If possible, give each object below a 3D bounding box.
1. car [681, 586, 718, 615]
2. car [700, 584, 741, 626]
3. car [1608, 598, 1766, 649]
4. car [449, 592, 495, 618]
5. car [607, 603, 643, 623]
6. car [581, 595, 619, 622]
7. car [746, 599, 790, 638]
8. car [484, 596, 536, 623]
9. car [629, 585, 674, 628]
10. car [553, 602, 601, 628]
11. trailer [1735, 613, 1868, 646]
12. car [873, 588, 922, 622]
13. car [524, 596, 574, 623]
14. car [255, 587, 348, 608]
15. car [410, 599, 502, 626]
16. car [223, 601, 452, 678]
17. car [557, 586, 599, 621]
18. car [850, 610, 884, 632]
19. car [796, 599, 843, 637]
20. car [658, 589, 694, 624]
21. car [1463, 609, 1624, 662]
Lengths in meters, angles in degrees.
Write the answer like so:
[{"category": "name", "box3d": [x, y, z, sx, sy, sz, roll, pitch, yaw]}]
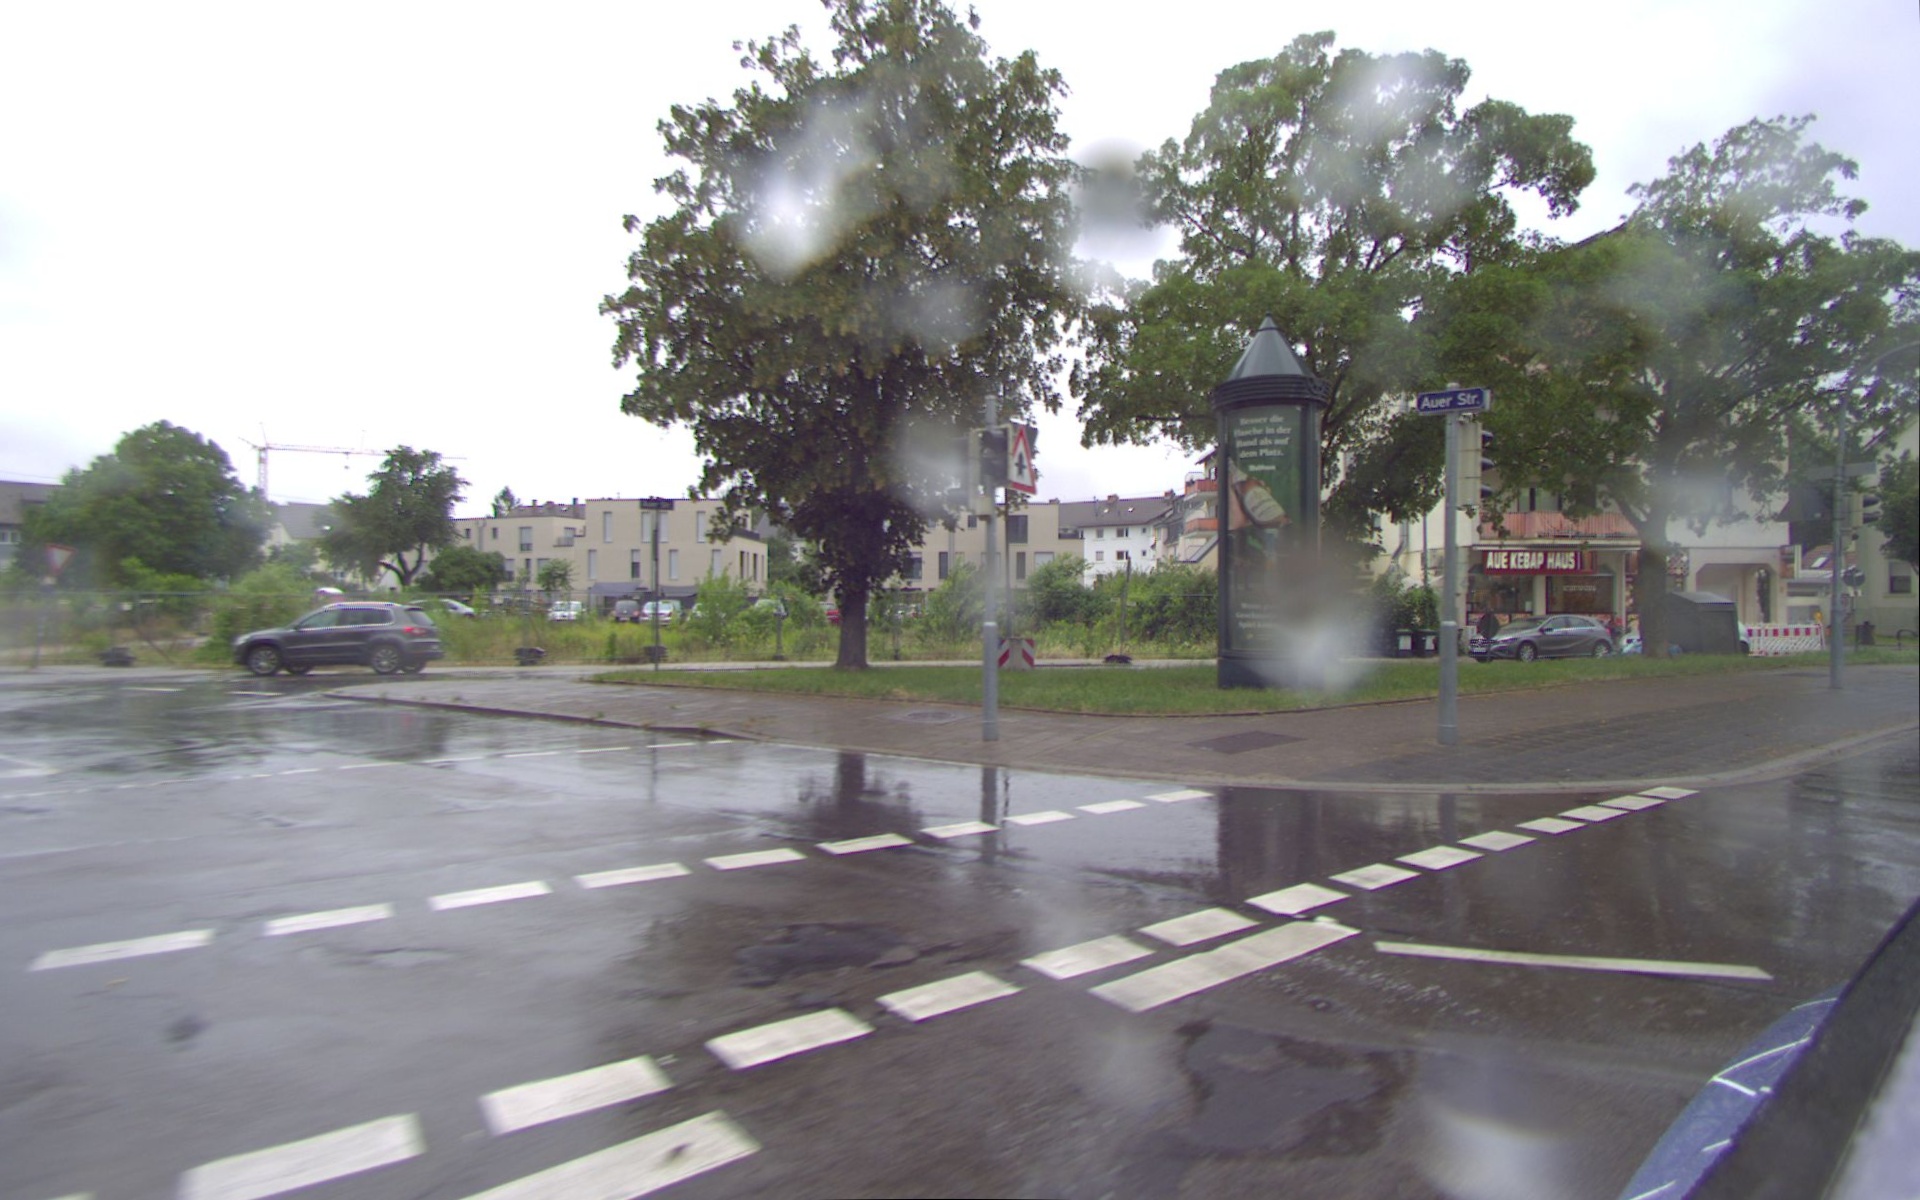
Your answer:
[{"category": "car", "box3d": [-19.100, 0.041, 74.464, 1.960, 2.039, 4.002, -1, -1, -4]}, {"category": "car", "box3d": [-12.271, 0.254, 51.823, 1.958, 2.039, 4.007, 0, -1, -14]}, {"category": "car", "box3d": [22.016, 0.695, 30.674, 4.089, 1.452, 1.642, 0, -1, -15]}, {"category": "car", "box3d": [-28.490, 0.307, 59.186, 1.732, 1.427, 4.408, 0, -1, -16]}, {"category": "car", "box3d": [-20.165, 0.808, 61.049, 1.732, 1.150, 4.408, 0, -1, -14]}, {"category": "car", "box3d": [-26.511, 0.653, 74.650, 1.638, 1.938, 4.003, -1, -1, -5]}, {"category": "car", "box3d": [-9.941, 0.940, 52.221, 1.958, 1.883, 4.007, 0, -1, -14]}, {"category": "car", "box3d": [-33.265, 0.684, 74.970, 1.963, 1.902, 3.997, -1, -1, 2]}, {"category": "car", "box3d": [-15.385, 0.316, 50.637, 1.958, 2.039, 4.007, 0, -1, -14]}, {"category": "car", "box3d": [-19.425, 0.756, 51.456, 1.637, 1.282, 4.006, 0, -1, -11]}, {"category": "trailer", "box3d": [33.962, 1.153, 41.028, 1.792, 1.247, 4.528, -1, -1, 4]}, {"category": "car", "box3d": [-3.300, 0.270, 52.844, 1.869, 1.705, 4.007, 0, -1, -14]}, {"category": "car", "box3d": [-30.329, 0.705, 74.783, 1.963, 1.902, 3.997, -1, -1, 2]}, {"category": "car", "box3d": [-37.616, -0.140, 57.865, 4.322, 1.150, 1.766, -1, -1, 5]}, {"category": "car", "box3d": [-25.390, 0.637, 51.081, 3.916, 1.282, 1.772, 0, -1, -17]}, {"category": "car", "box3d": [-14.515, 0.889, 23.844, 4.216, 1.676, 1.863, -1, -1, -10]}, {"category": "car", "box3d": [-23.077, 0.237, 61.263, 1.958, 2.039, 4.007, 0, -1, -14]}, {"category": "car", "box3d": [-5.891, 1.308, 64.361, 1.734, 1.360, 4.090, -1, -1, 1]}, {"category": "car", "box3d": [-7.366, 0.946, 52.751, 1.958, 1.883, 4.007, 0, -1, -14]}, {"category": "car", "box3d": [-17.288, 0.420, 61.676, 1.958, 2.039, 4.007, 0, -1, -14]}, {"category": "car", "box3d": [17.144, 1.008, 29.772, 4.069, 1.452, 1.706, 0, -1, -15]}]
